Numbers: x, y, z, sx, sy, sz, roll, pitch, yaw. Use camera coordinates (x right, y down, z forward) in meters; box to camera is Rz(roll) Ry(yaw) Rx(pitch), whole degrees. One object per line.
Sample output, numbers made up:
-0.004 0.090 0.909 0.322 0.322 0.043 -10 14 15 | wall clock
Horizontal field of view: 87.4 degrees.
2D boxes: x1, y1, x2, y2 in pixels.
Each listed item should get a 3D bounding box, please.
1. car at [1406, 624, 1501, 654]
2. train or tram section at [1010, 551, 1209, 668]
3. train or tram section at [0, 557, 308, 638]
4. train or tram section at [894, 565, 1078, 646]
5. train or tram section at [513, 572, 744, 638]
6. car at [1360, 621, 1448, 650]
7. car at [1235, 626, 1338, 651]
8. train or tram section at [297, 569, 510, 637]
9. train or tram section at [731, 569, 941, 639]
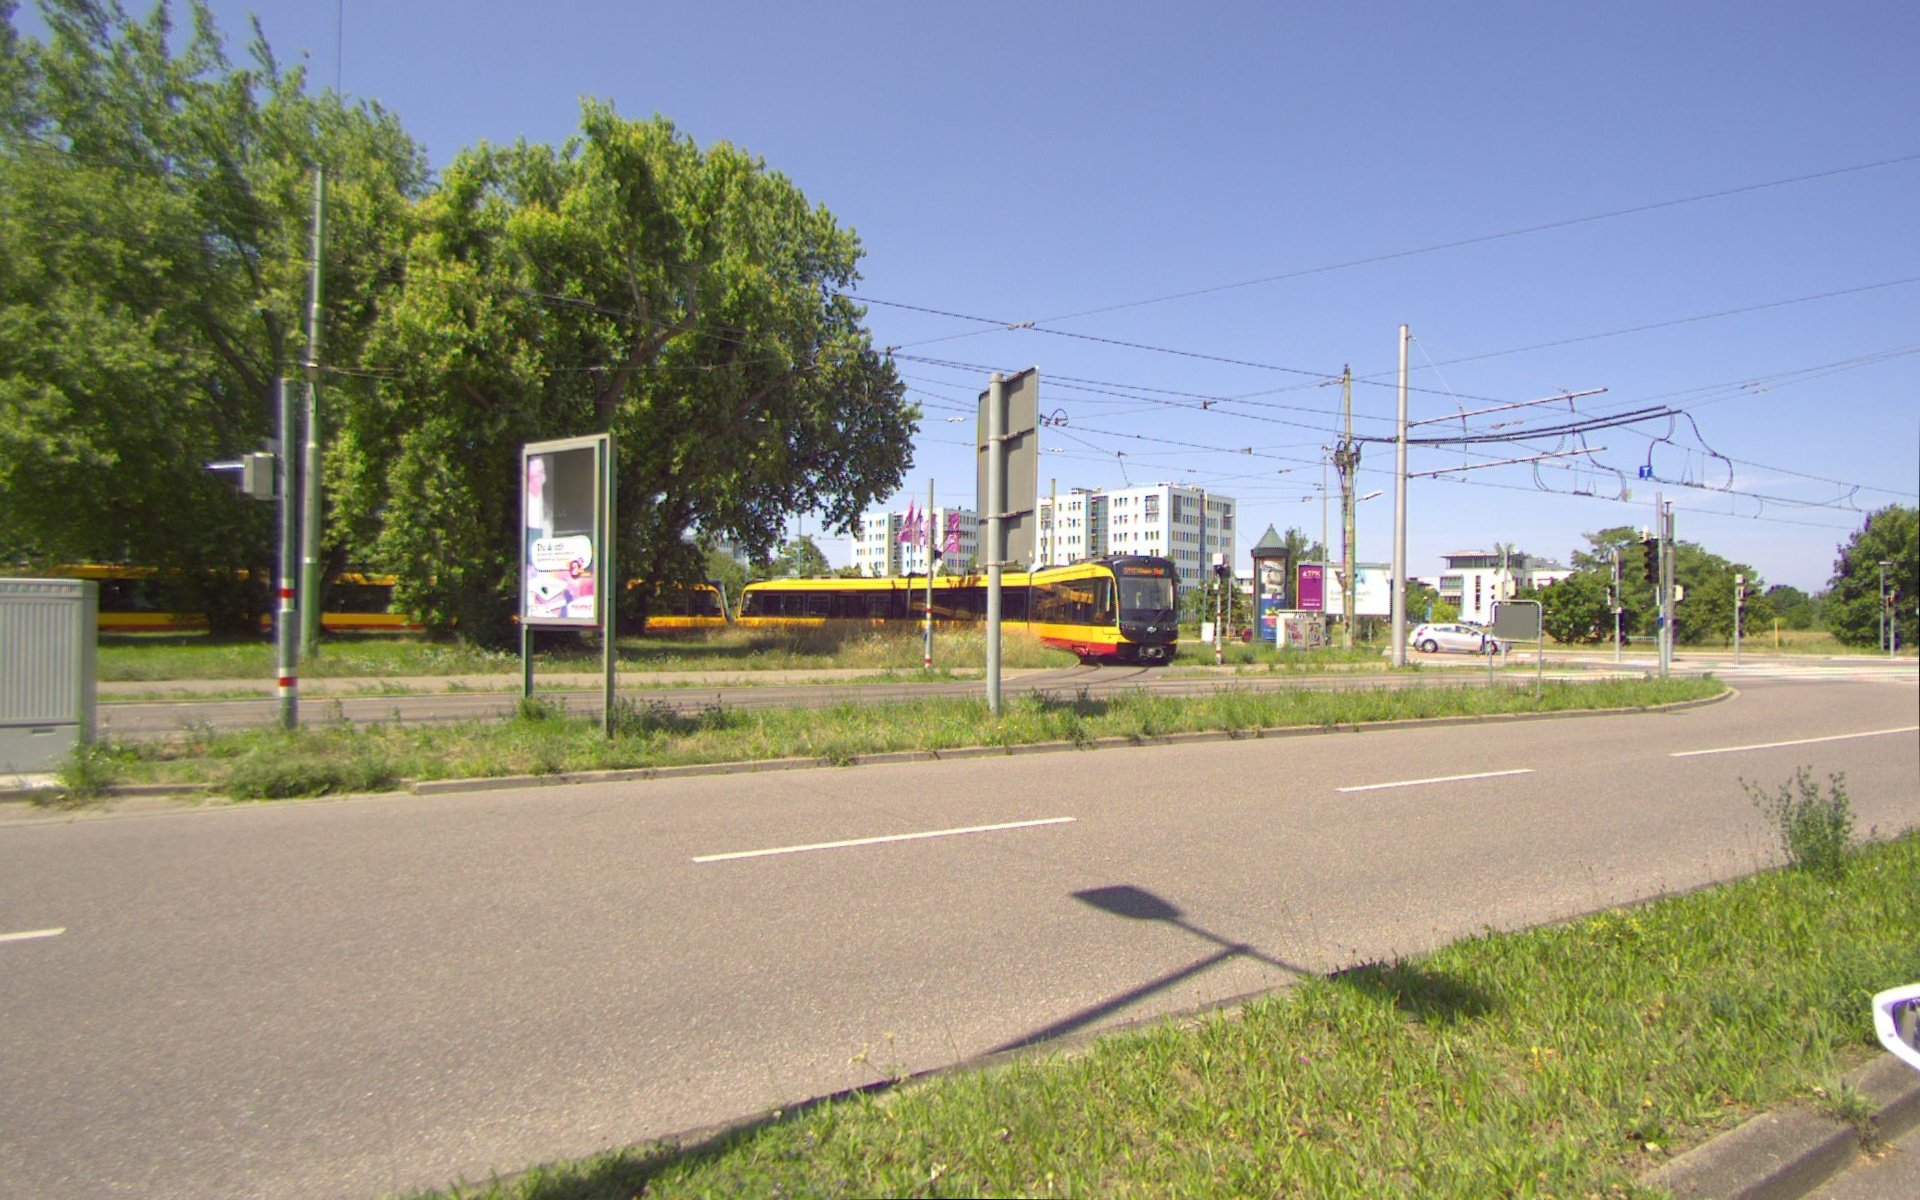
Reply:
24.885 1.947 50.675 4.205 1.311 1.996 0 0 30 | car
4.922 0.219 37.190 2.992 3.512 13.263 1 1 -11 | train or tram section
-39.193 -0.103 47.960 3.001 3.512 13.199 2 1 41 | train or tram section
0.978 0.142 48.087 3.020 3.512 10.110 1 1 -38 | train or tram section
-19.387 0.268 59.364 12.502 3.512 3.045 1 1 -2 | train or tram section
24.367 1.908 55.138 4.205 1.431 1.895 0 0 30 | car
17.491 2.048 53.834 5.136 1.147 1.898 0 0 20 | car
-30.786 0.212 55.995 10.109 3.512 3.020 1 1 -32 | train or tram section
-7.156 0.092 56.261 12.526 3.512 3.039 2 1 32 | train or tram section
